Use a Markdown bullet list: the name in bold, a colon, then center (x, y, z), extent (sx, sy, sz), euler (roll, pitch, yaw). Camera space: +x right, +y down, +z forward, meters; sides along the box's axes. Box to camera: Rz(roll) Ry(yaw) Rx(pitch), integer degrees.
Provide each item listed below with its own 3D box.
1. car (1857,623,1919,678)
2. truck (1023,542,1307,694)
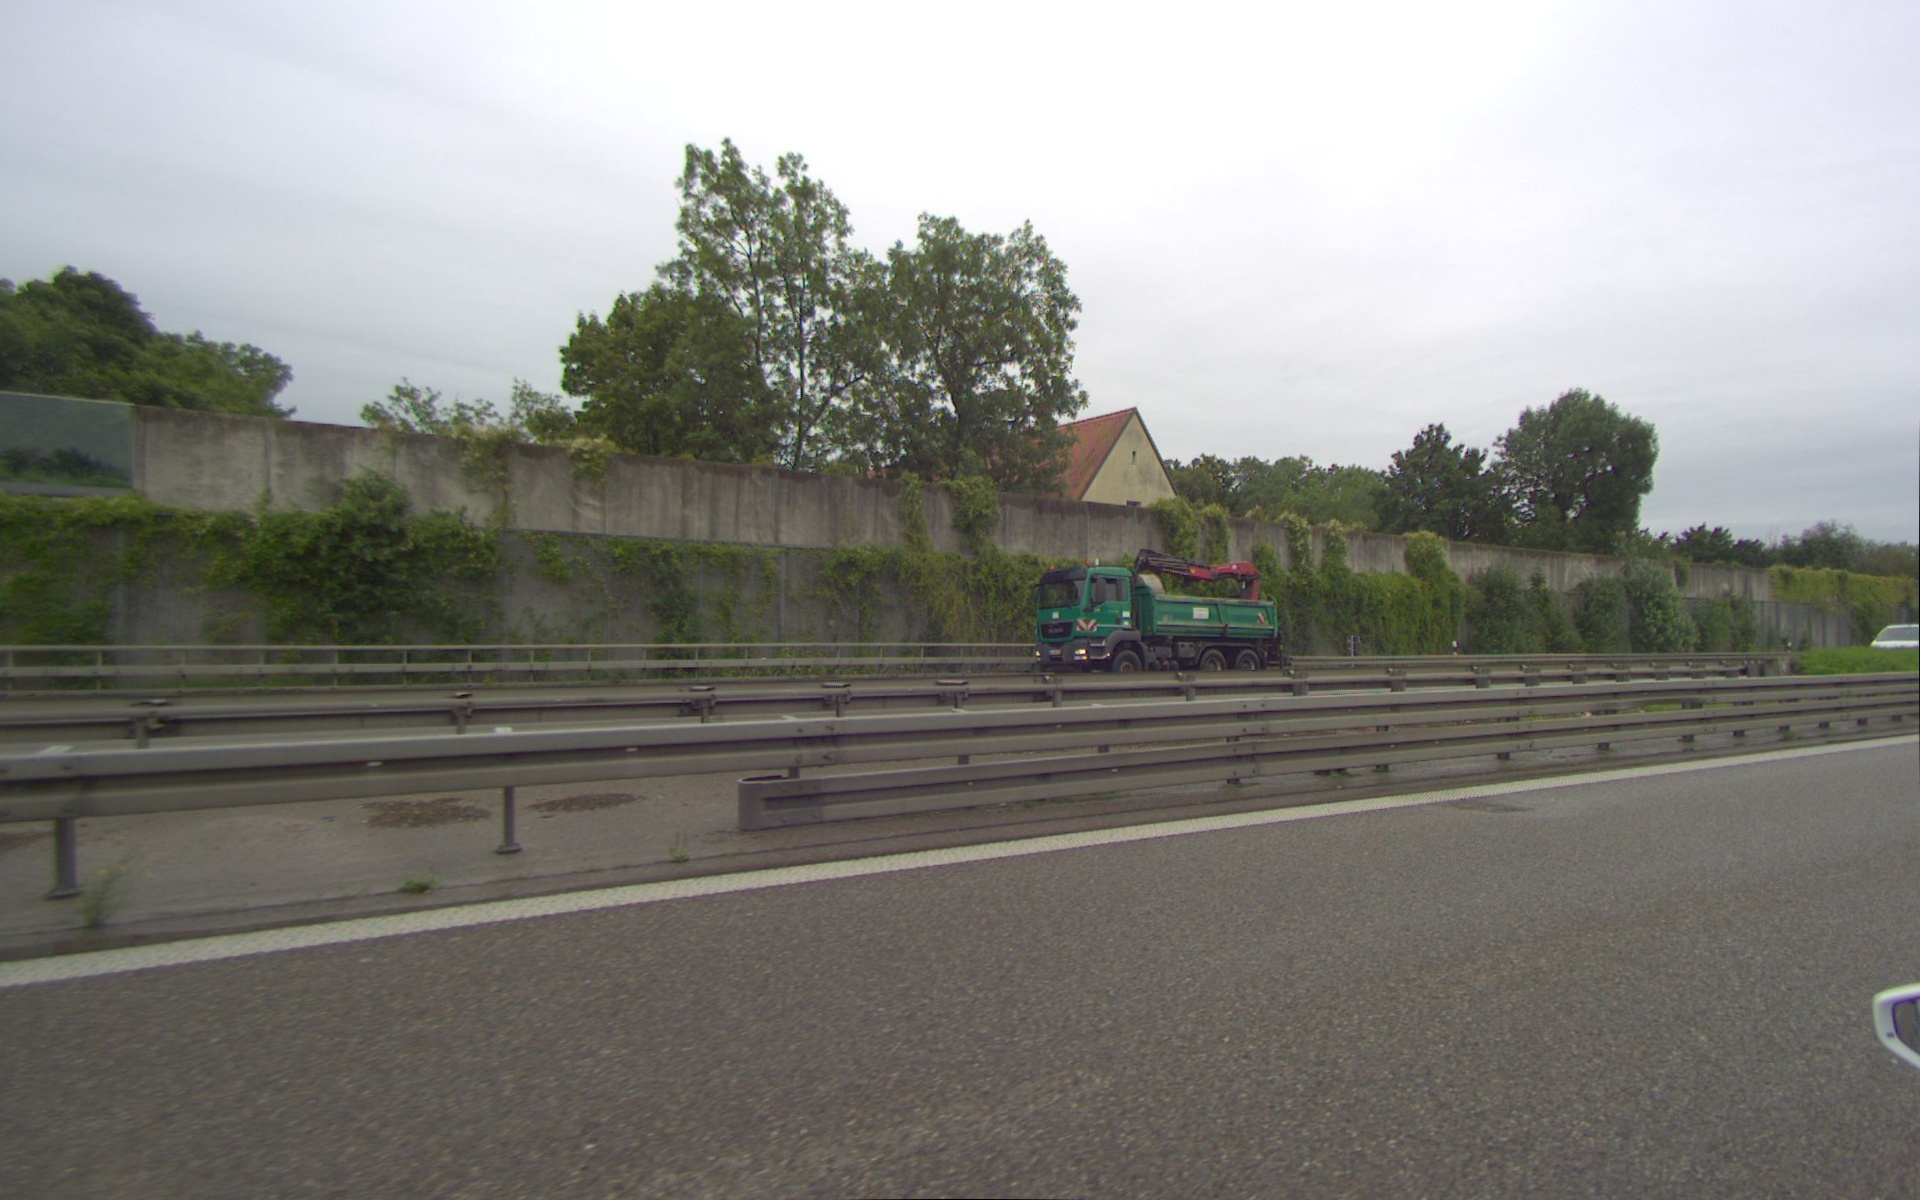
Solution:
- **car**: center (37.459, 1.945, 39.341), extent (5.135, 2.040, 2.070), euler (1, -1, -31)
- **truck**: center (5.961, 0.552, 28.510), extent (8.242, 3.827, 2.678), euler (2, 0, -31)
